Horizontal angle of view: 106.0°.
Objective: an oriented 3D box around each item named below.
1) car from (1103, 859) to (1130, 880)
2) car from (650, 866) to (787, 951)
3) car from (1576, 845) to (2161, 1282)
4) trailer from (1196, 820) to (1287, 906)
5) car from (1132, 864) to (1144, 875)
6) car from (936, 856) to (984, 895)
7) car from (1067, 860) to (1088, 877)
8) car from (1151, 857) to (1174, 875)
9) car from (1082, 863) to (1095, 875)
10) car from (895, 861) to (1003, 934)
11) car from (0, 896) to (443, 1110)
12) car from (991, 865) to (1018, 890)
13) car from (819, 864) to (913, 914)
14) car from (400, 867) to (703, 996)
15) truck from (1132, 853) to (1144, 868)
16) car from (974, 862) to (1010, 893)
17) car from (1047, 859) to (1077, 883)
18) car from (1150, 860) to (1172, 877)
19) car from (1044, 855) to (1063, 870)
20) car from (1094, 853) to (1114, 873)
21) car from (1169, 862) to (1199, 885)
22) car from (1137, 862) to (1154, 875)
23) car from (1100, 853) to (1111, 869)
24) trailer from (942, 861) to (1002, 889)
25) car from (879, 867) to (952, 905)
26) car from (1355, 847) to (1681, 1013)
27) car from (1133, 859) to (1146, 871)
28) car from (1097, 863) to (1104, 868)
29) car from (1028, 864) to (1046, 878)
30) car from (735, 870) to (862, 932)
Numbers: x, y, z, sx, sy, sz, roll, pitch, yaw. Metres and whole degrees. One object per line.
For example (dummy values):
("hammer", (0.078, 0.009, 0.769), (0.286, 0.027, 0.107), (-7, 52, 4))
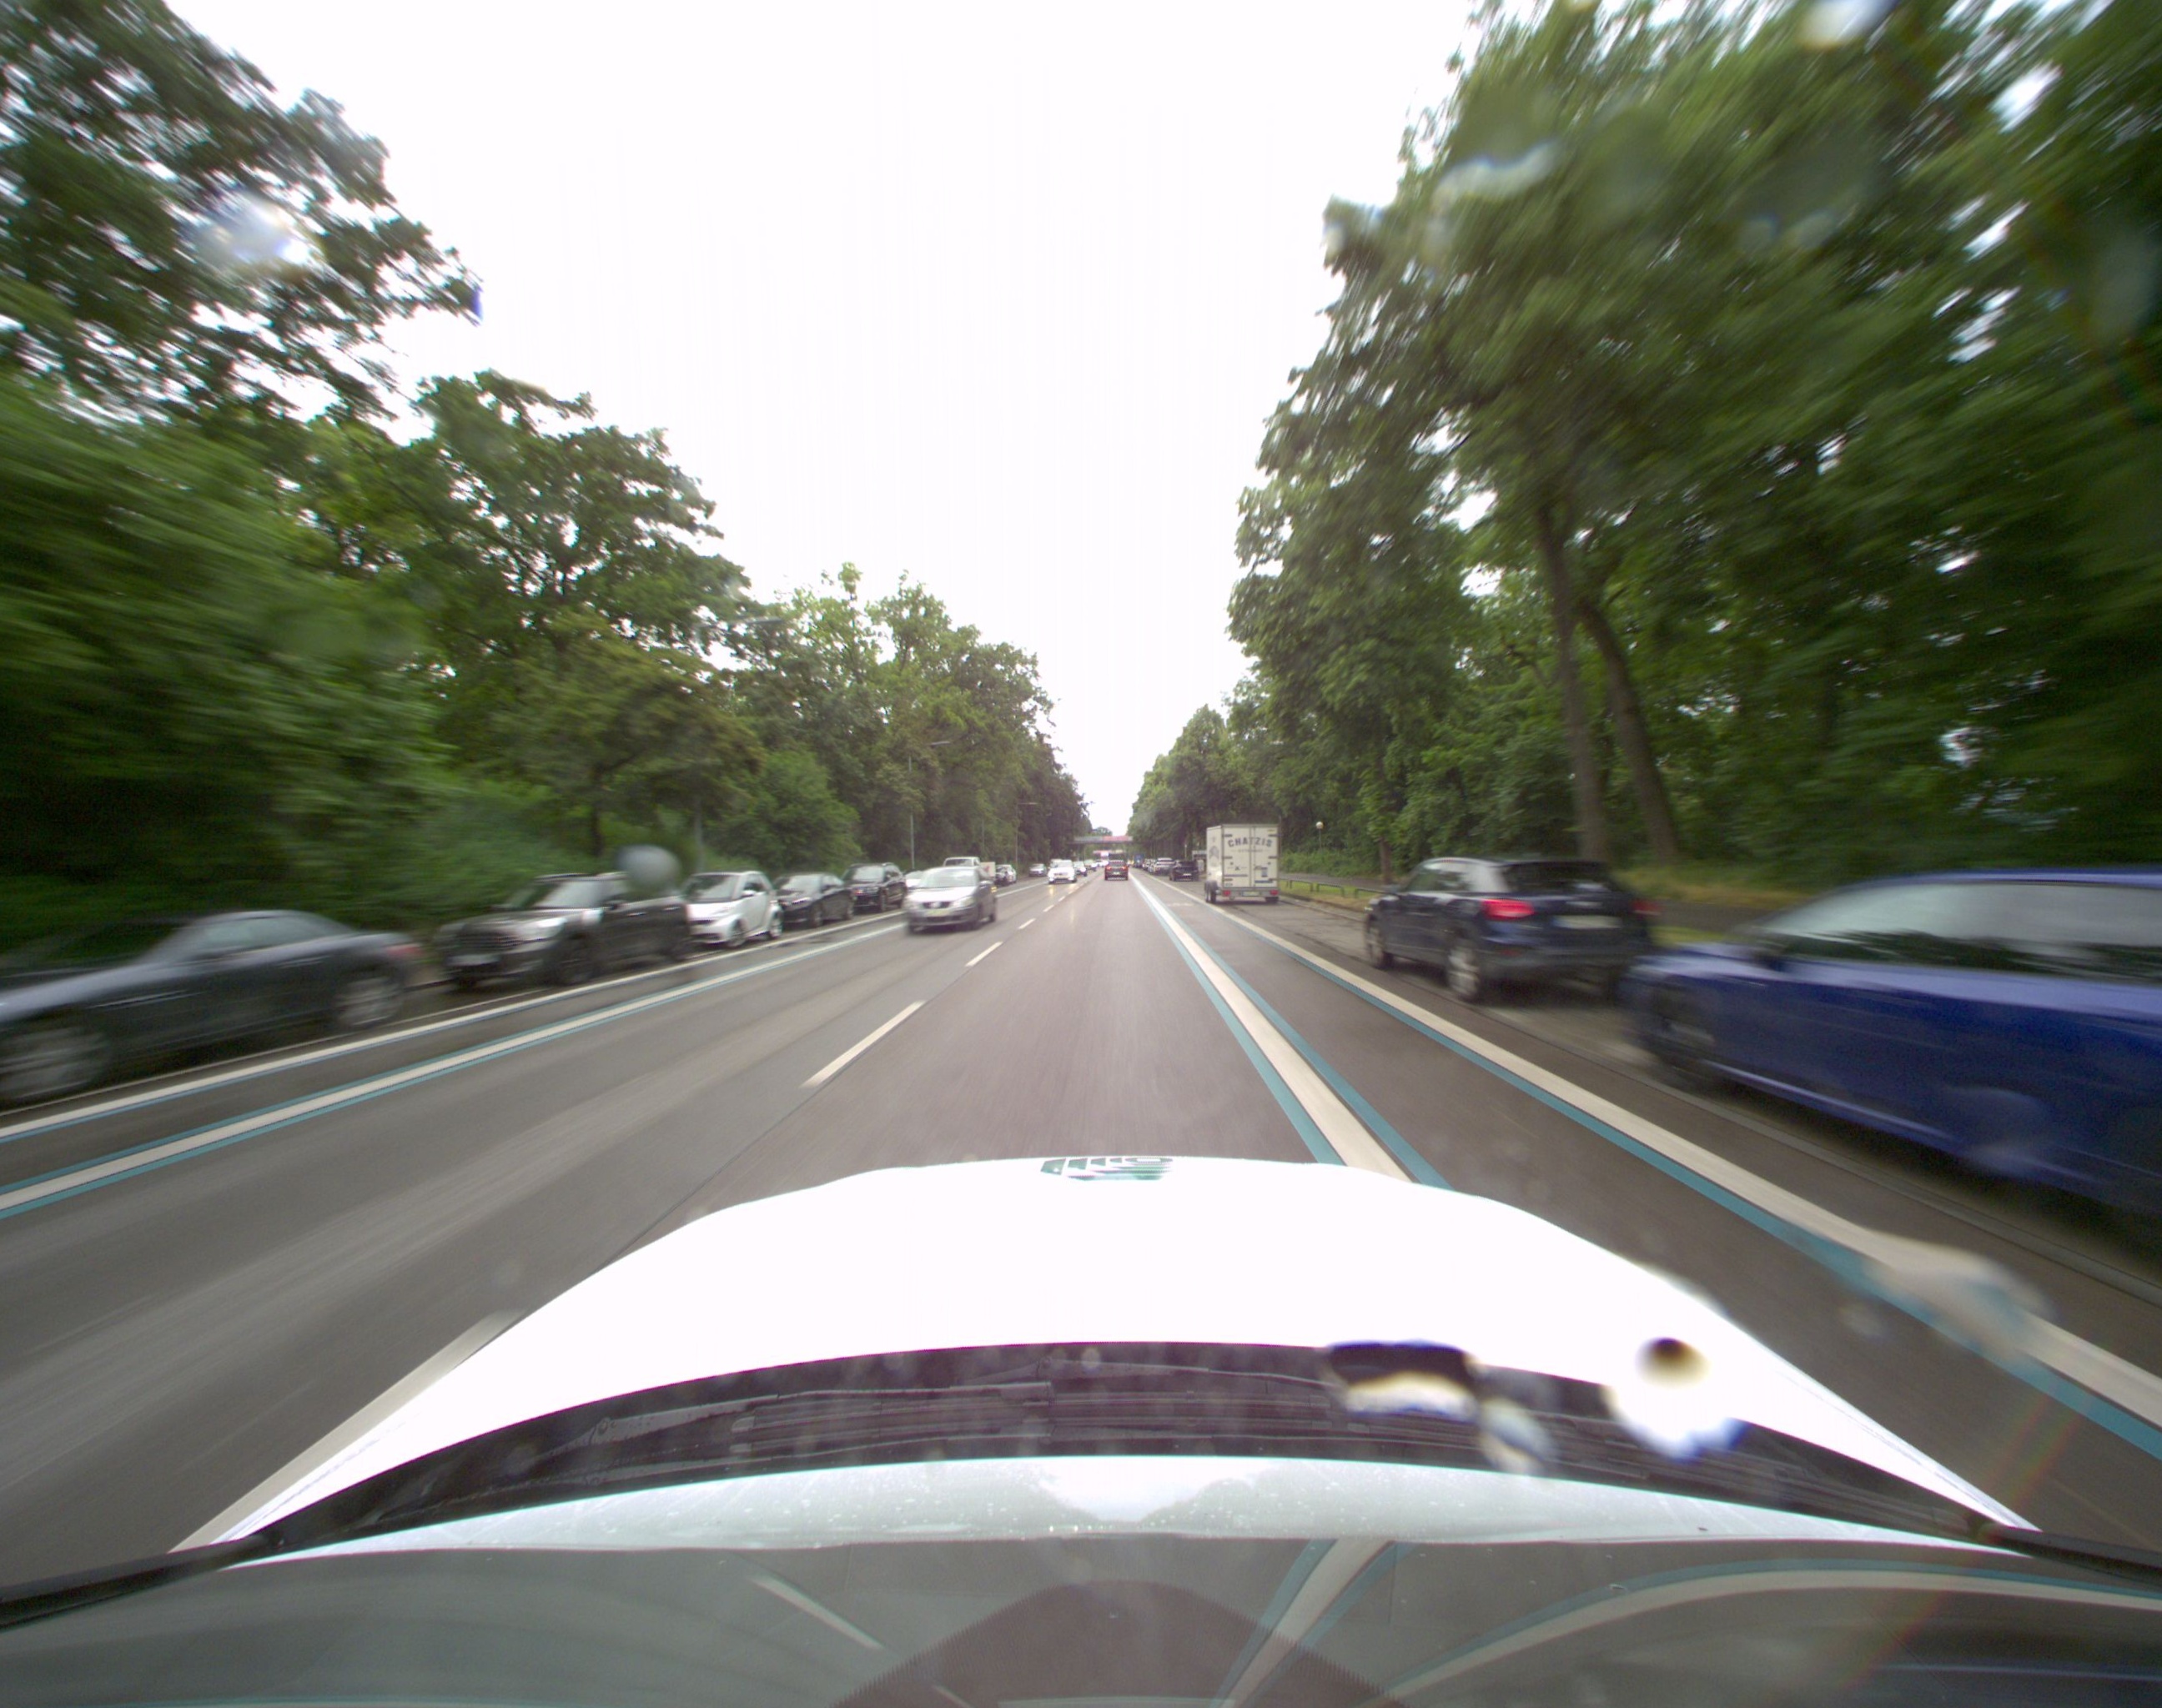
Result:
("car", (2.601, 1.183, 60.508), (1.865, 1.441, 4.295), (0, -2, 0))
("car", (-7.431, 1.063, 16.977), (1.455, 1.571, 2.984), (-1, -1, 1))
("car", (4.532, 0.712, 4.000), (1.675, 1.482, 4.320), (0, 0, 2))
("trailer", (5.169, 0.287, 26.878), (2.125, 2.560, 4.296), (-1, -1, 0))
("car", (9.932, 2.704, 142.094), (1.986, 1.772, 4.002), (-3, -1, 2))
("car", (-6.672, 1.153, 45.314), (1.934, 2.014, 4.738), (-1, -1, -1))
("car", (-0.321, 1.386, 77.349), (1.699, 1.572, 4.003), (-1, 0, 3))
("car", (7.539, 1.098, 75.327), (1.890, 1.606, 4.002), (-1, -1, 3))
("car", (1.067, 2.080, 112.981), (1.699, 1.572, 4.003), (-1, 0, 3))
("car", (-2.985, 0.943, 19.253), (1.692, 1.485, 4.037), (-2, -1, 2))
("car", (-8.112, 1.121, 7.029), (1.688, 1.300, 4.197), (-1, -1, 4))
("car", (-5.802, 1.771, 62.119), (1.569, 1.770, 3.417), (-1, -1, 3))
("car", (-7.318, 1.152, 28.195), (1.872, 1.561, 4.471), (-1, -1, 2))
("car", (-7.708, 1.022, 12.424), (1.688, 1.584, 4.143), (-1, -1, 4))
("truck", (10.555, 1.175, 150.126), (2.104, 2.599, 4.303), (-1, -1, 2))
("car", (-5.970, 1.555, 55.031), (1.934, 2.014, 4.738), (-1, -1, -1))
("car", (-1.251, 1.154, 55.507), (1.828, 1.517, 4.001), (-1, -1, 1))
("car", (7.827, 1.417, 79.934), (1.890, 1.606, 4.002), (-1, -1, 3))
("car", (-3.887, 1.183, 115.437), (2.150, 2.014, 5.035), (-1, -1, 3))
("car", (2.546, 0.986, 89.167), (1.985, 2.014, 4.002), (-1, -1, 2))
("car", (7.012, 1.299, 55.609), (1.715, 1.525, 4.002), (-1, -1, 3))
("car", (8.361, 1.874, 105.849), (1.985, 1.562, 4.002), (-1, -1, 3))
("car", (7.811, 2.351, 259.947), (3.340, 4.952, 9.014), (-1, 0, 2))
("trailer", (-6.676, 1.254, 50.308), (1.609, 1.629, 3.696), (-2, -1, 33))
("car", (-7.002, 1.332, 34.934), (1.985, 1.488, 4.471), (-1, -1, 2))
("car", (4.702, 0.719, 9.507), (1.707, 1.513, 3.976), (-1, -1, 1))
("car", (9.624, 1.834, 134.011), (1.986, 2.014, 4.000), (-1, -1, 1))
("car", (3.981, 2.306, 165.044), (1.373, 1.131, 3.314), (-1, -1, 2))
("car", (-4.861, 1.843, 90.289), (1.666, 1.514, 3.631), (0, 0, 1))
("car", (-7.567, 1.200, 22.323), (1.801, 1.488, 4.469), (-1, -1, 1))
